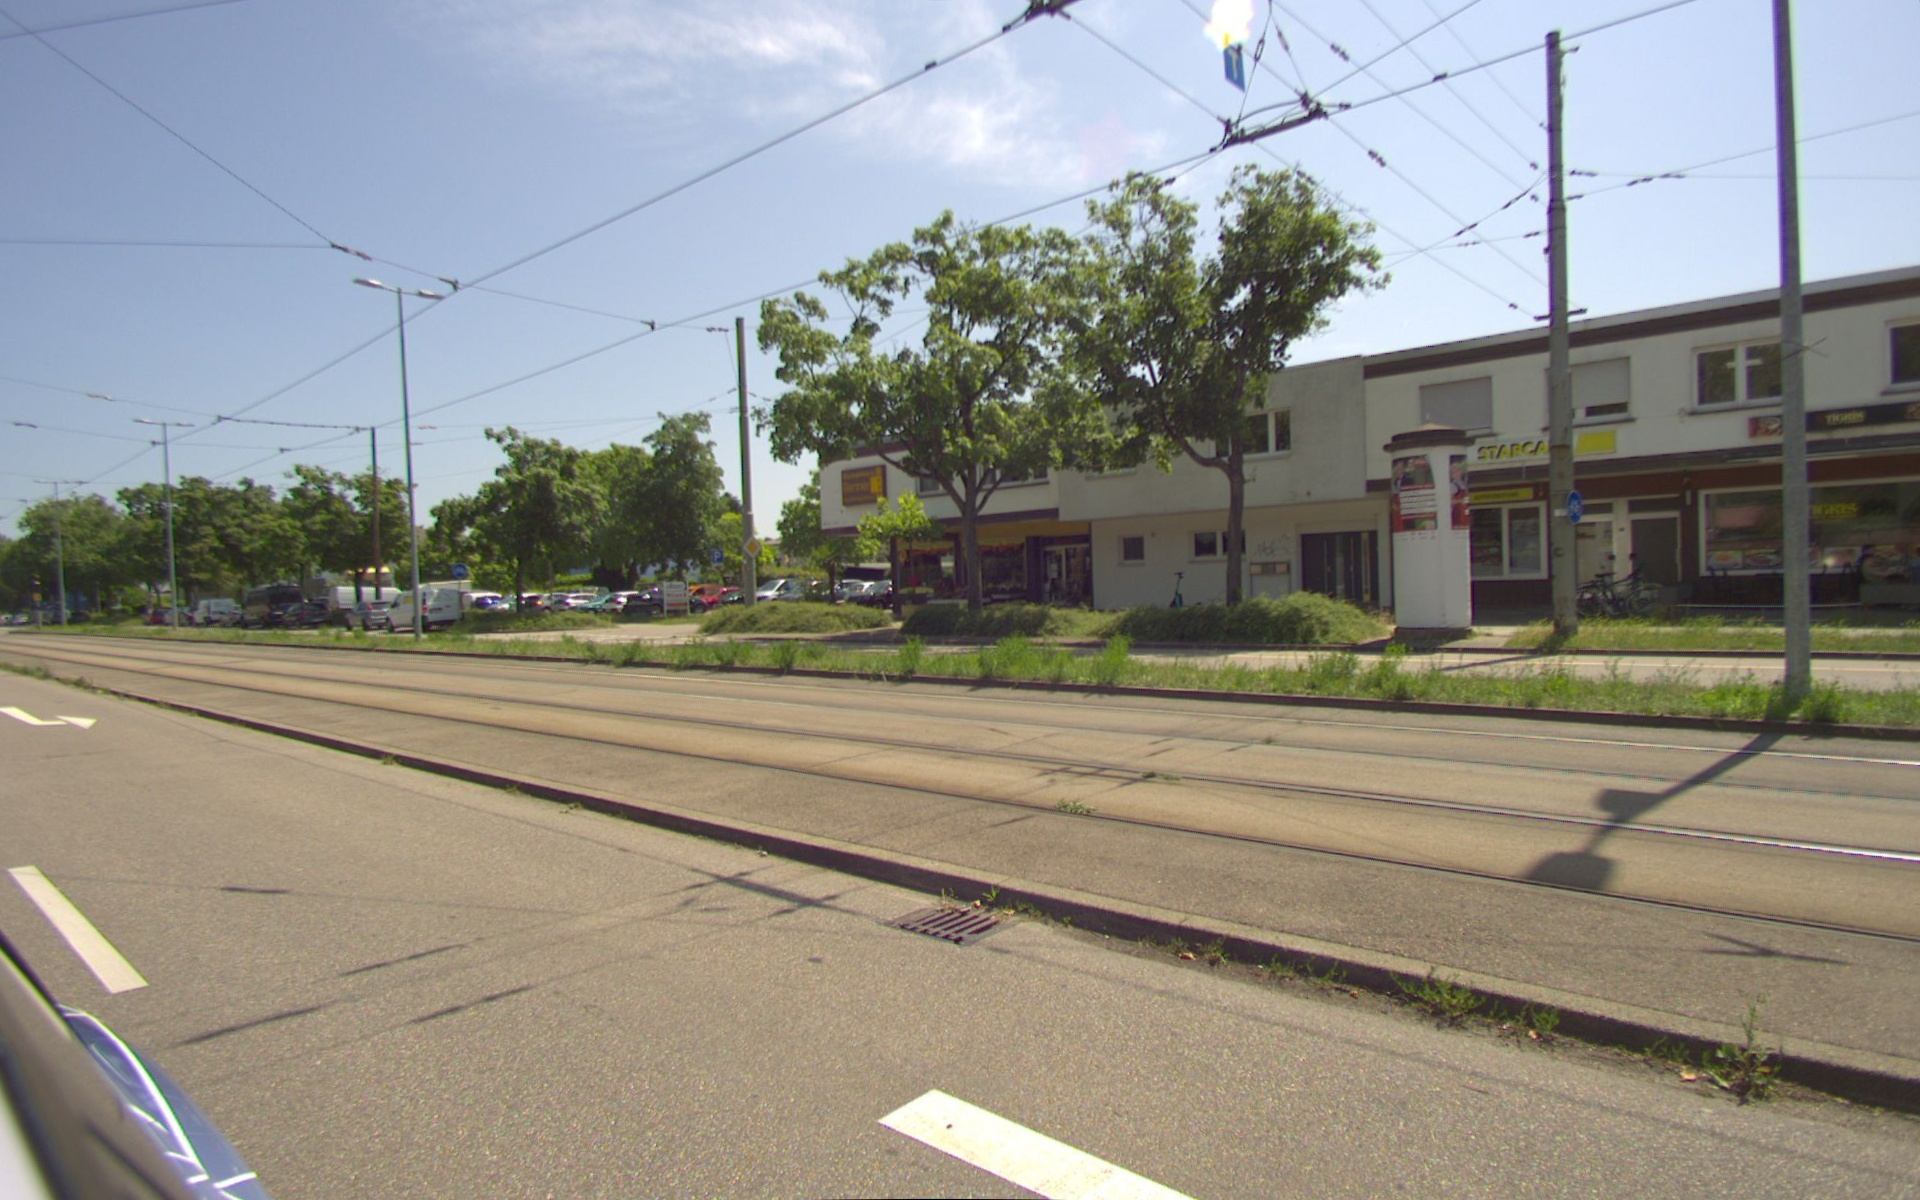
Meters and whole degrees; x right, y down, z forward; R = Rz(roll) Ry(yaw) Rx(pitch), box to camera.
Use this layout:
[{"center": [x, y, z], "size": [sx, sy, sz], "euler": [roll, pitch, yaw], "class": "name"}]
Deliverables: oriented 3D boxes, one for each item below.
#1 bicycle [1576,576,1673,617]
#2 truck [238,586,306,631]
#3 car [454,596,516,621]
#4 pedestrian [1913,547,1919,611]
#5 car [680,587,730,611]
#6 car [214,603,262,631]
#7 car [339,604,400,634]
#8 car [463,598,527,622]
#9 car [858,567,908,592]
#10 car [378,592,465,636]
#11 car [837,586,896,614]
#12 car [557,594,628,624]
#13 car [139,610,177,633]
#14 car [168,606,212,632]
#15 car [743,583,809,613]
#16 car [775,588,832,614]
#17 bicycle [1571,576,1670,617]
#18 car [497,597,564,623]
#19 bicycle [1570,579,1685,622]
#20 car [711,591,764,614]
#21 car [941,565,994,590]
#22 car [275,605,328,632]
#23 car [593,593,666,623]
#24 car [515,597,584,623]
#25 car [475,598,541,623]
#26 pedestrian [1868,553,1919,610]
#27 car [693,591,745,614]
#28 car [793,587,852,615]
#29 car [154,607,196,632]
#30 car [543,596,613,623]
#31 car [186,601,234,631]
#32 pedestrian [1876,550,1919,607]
[{"center": [15.071, -0.075, 22.978], "size": [1.786, 0.854, 0.523], "euler": [-1, 3, 41], "class": "bicycle"}, {"center": [-42.027, 0.535, 61.745], "size": [4.926, 2.560, 2.197], "euler": [-1, 1, 41], "class": "truck"}, {"center": [-31.470, 0.578, 67.122], "size": [1.600, 1.517, 3.375], "euler": [-1, 1, 35], "class": "car"}, {"center": [19.213, -0.424, 20.008], "size": [0.491, 1.248, 0.569], "euler": [-1, 1, 40], "class": "pedestrian"}, {"center": [-18.509, -0.090, 73.562], "size": [1.504, 1.573, 3.315], "euler": [-1, 1, 38], "class": "car"}, {"center": [-48.214, 1.130, 67.535], "size": [3.866, 1.807, 1.660], "euler": [-1, 1, 40], "class": "car"}, {"center": [-29.885, 0.941, 51.206], "size": [3.568, 1.397, 1.653], "euler": [-1, 1, 43], "class": "car"}, {"center": [-29.813, 0.647, 64.950], "size": [1.600, 1.404, 3.375], "euler": [-1, 1, 35], "class": "car"}, {"center": [-6.632, -1.798, 87.513], "size": [2.000, 2.029, 3.944], "euler": [-1, 1, 42], "class": "car"}, {"center": [-25.066, 0.655, 47.060], "size": [4.659, 1.897, 1.973], "euler": [-1, 1, 41], "class": "car"}, {"center": [-5.613, -0.021, 61.009], "size": [1.622, 1.549, 3.450], "euler": [-1, 1, 38], "class": "car"}, {"center": [-20.275, 0.473, 55.973], "size": [1.595, 1.502, 3.375], "euler": [-1, 1, 35], "class": "car"}, {"center": [-65.268, 1.740, 82.300], "size": [3.820, 1.716, 1.660], "euler": [-1, 1, 40], "class": "car"}, {"center": [-56.861, 1.373, 74.741], "size": [4.199, 1.807, 1.660], "euler": [-1, 1, 40], "class": "car"}, {"center": [-11.872, -0.121, 65.517], "size": [1.811, 1.798, 3.950], "euler": [-1, 1, 38], "class": "car"}, {"center": [-9.917, 0.047, 64.133], "size": [1.532, 1.549, 3.450], "euler": [-1, 1, 37], "class": "car"}, {"center": [14.707, -0.066, 22.548], "size": [1.786, 0.854, 0.523], "euler": [-1, 3, 41], "class": "bicycle"}, {"center": [-25.962, 0.596, 61.296], "size": [1.600, 1.404, 3.375], "euler": [-1, 1, 35], "class": "car"}, {"center": [14.140, 0.024, 21.470], "size": [1.958, 0.854, 0.596], "euler": [-1, 3, 41], "class": "bicycle"}, {"center": [-15.236, 0.171, 69.439], "size": [1.504, 1.400, 3.315], "euler": [-1, 1, 38], "class": "car"}, {"center": [0.588, -1.775, 78.564], "size": [2.000, 1.785, 3.944], "euler": [-1, 1, 42], "class": "car"}, {"center": [-37.507, 1.055, 57.619], "size": [3.669, 1.397, 1.653], "euler": [-1, 1, 43], "class": "car"}, {"center": [-17.919, 0.411, 54.976], "size": [1.790, 1.502, 3.375], "euler": [-1, 1, 35], "class": "car"}, {"center": [-23.918, 0.571, 58.984], "size": [1.600, 1.404, 3.375], "euler": [-1, 1, 35], "class": "car"}, {"center": [-27.950, 0.622, 62.668], "size": [1.600, 1.404, 3.375], "euler": [-1, 1, 35], "class": "car"}, {"center": [19.316, -0.385, 20.886], "size": [0.810, 1.136, 0.558], "euler": [-1, 1, 41], "class": "pedestrian"}, {"center": [-16.984, 0.187, 71.448], "size": [1.504, 1.469, 3.315], "euler": [-1, 1, 38], "class": "car"}, {"center": [-8.382, 0.046, 61.901], "size": [1.622, 1.549, 3.450], "euler": [-1, 1, 38], "class": "car"}, {"center": [-60.256, 1.489, 77.677], "size": [4.199, 1.807, 1.660], "euler": [-2, 0, 40], "class": "car"}, {"center": [-21.844, 0.544, 57.944], "size": [1.600, 1.404, 3.375], "euler": [-1, 1, 35], "class": "car"}, {"center": [-52.522, 1.151, 70.824], "size": [4.506, 1.989, 1.660], "euler": [-1, 1, 40], "class": "car"}, {"center": [19.839, -0.458, 21.388], "size": [0.674, 1.172, 0.512], "euler": [-1, 1, 41], "class": "pedestrian"}]
